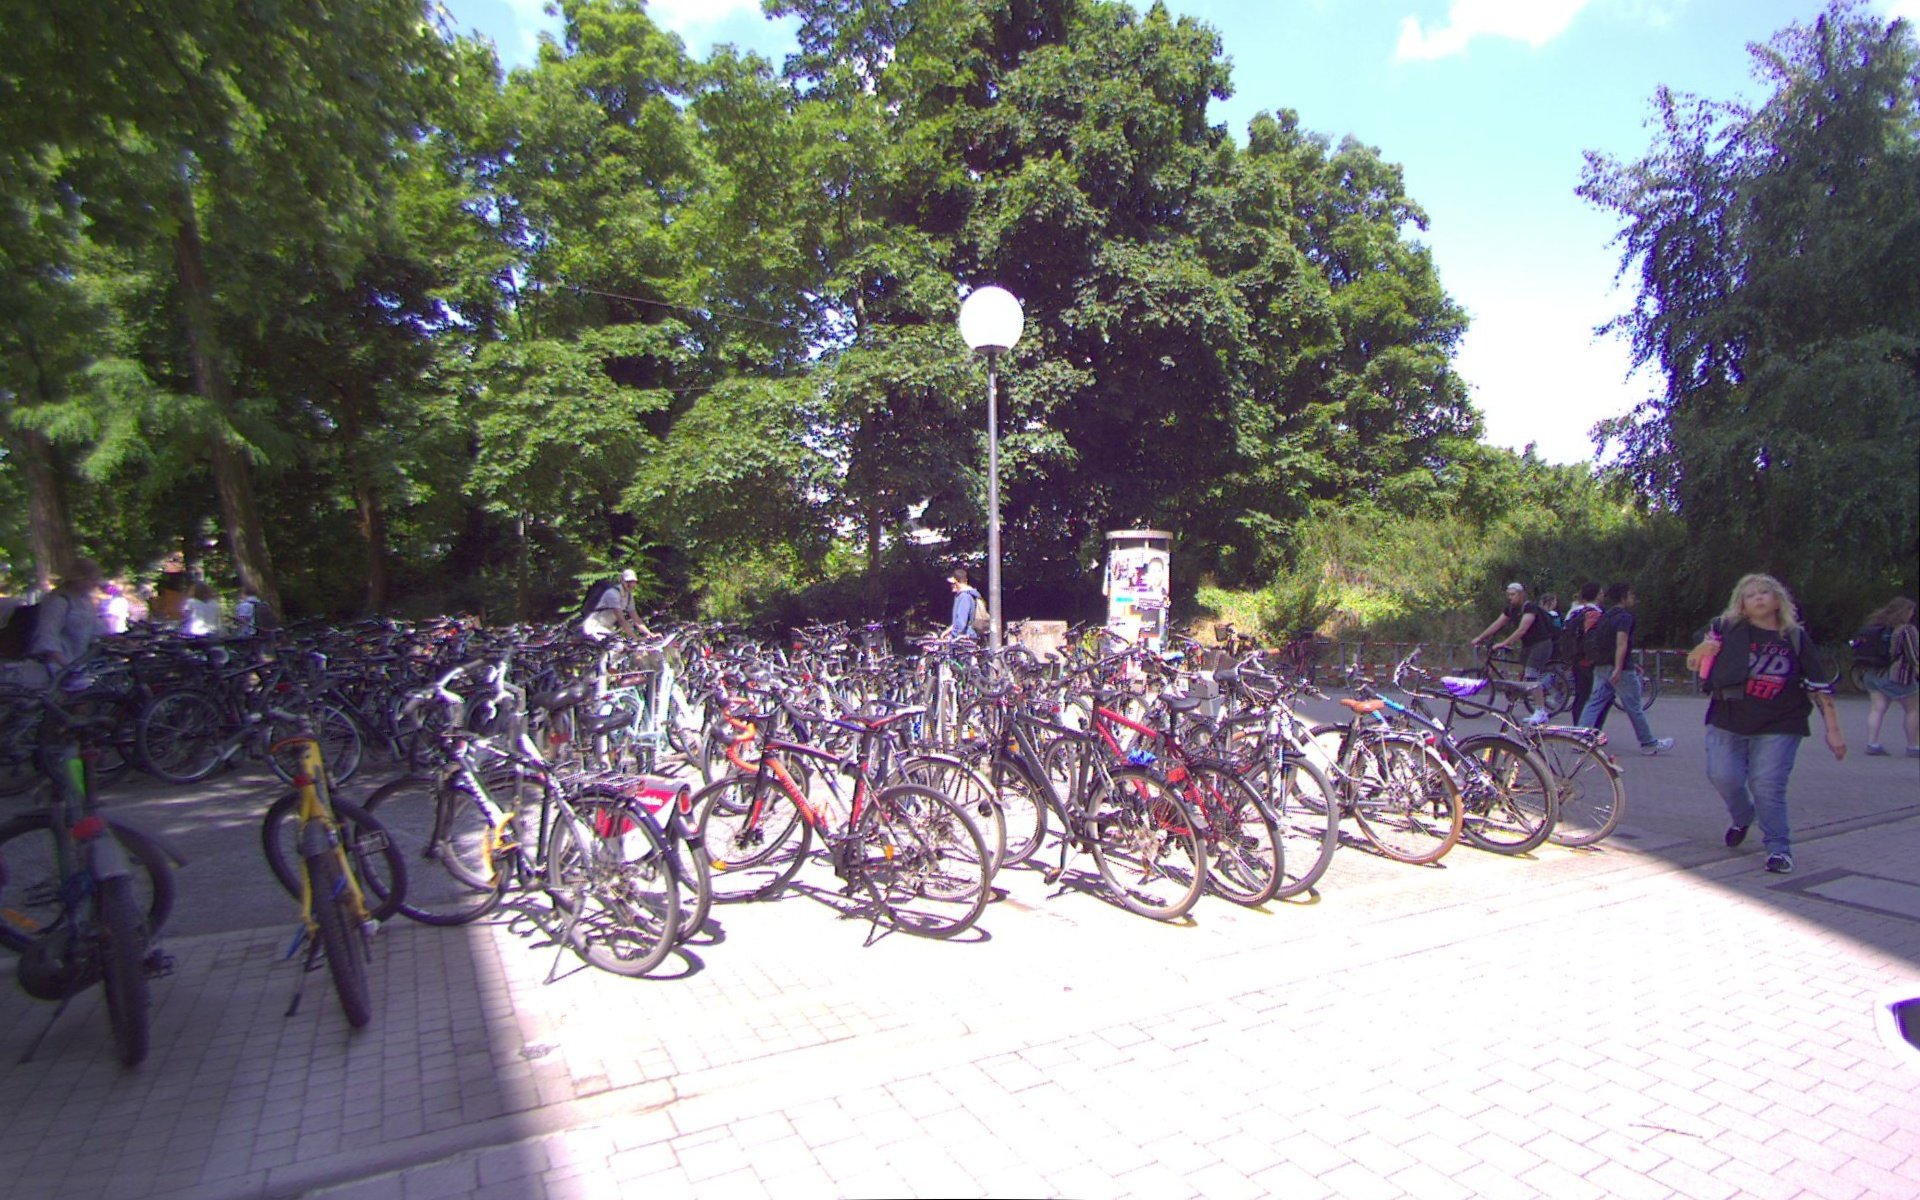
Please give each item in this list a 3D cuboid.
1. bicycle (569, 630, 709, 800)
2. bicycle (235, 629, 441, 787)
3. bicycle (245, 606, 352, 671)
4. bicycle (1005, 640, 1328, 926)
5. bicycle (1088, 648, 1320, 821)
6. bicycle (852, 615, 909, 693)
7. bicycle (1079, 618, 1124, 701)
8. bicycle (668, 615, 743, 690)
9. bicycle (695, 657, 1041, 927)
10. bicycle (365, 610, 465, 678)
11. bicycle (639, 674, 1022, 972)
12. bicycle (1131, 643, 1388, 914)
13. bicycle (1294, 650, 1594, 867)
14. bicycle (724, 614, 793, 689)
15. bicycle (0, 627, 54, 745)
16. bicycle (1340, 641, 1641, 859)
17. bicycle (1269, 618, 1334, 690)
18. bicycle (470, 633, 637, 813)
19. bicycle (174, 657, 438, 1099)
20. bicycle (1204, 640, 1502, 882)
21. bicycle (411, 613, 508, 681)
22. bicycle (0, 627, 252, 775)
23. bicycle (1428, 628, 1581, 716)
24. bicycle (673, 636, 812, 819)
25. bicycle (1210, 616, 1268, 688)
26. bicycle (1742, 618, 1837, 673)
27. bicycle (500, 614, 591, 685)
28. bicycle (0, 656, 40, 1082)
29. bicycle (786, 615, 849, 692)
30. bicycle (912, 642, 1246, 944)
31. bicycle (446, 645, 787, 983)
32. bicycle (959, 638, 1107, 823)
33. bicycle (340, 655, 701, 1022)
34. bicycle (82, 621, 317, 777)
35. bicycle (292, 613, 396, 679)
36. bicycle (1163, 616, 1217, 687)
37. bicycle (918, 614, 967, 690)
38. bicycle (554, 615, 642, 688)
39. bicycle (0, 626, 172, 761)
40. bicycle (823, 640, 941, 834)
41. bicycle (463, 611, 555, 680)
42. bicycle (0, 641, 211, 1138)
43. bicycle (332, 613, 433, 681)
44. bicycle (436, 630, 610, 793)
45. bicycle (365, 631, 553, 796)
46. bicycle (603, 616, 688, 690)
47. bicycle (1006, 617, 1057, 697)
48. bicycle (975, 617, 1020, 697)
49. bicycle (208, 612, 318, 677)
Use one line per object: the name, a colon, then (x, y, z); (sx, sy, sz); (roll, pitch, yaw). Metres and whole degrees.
bicycle: (-2.386, 0.801, 7.652); (0.465, 1.098, 1.700); (1, 0, 2)
bicycle: (-4.977, 0.810, 8.174); (0.464, 1.098, 1.700); (1, 0, 6)
bicycle: (-12.012, 0.669, 18.303); (0.507, 1.125, 1.779); (1, 0, 12)
bicycle: (0.991, 0.833, 5.189); (0.470, 1.184, 1.678); (1, 0, -42)
bicycle: (1.757, 0.906, 7.158); (1.678, 1.098, 0.505); (1, 0, -27)
bicycle: (-1.215, 0.806, 15.640); (0.464, 1.125, 1.779); (1, 0, 9)
bicycle: (2.120, 0.841, 14.912); (0.464, 1.125, 1.779); (1, 0, 14)
bicycle: (-4.111, 0.813, 16.320); (0.507, 1.125, 1.779); (1, 0, 9)
bicycle: (-0.478, 0.862, 4.910); (1.668, 1.076, 0.473); (1, 0, 26)
bicycle: (-9.604, 0.751, 17.784); (0.507, 1.125, 1.779); (1, 0, 12)
bicycle: (-0.599, 0.892, 4.409); (1.668, 1.032, 0.473); (1, 0, 26)
bicycle: (1.568, 0.870, 5.595); (0.466, 1.184, 1.775); (1, 0, -16)
bicycle: (2.975, 0.910, 6.343); (0.469, 1.106, 1.683); (1, 0, -35)
bicycle: (-3.250, 0.807, 16.346); (0.507, 1.125, 1.779); (1, 0, 9)
bicycle: (-9.400, 0.811, 9.122); (0.465, 1.098, 1.699); (1, 0, 22)
bicycle: (3.387, 0.892, 6.557); (0.470, 1.174, 1.681); (1, 0, -38)
bicycle: (5.801, 0.887, 17.153); (0.465, 1.125, 1.778); (1, 0, -1)
bicycle: (-2.882, 0.817, 7.300); (0.465, 1.098, 1.700); (1, 0, 2)
bicycle: (-2.410, 0.817, 3.611); (0.578, 1.123, 1.679); (1, 0, -40)
bicycle: (2.282, 0.870, 6.043); (0.469, 1.184, 1.683); (1, 0, -35)
bicycle: (-8.758, 0.794, 17.658); (0.507, 1.125, 1.779); (1, 0, 12)
bicycle: (-7.034, 0.797, 8.583); (0.464, 1.098, 1.700); (1, 0, 15)
bicycle: (7.292, 0.963, 13.472); (1.809, 1.125, 0.474); (1, 0, -4)
bicycle: (-1.515, 0.840, 7.249); (0.464, 1.098, 1.700); (1, 0, 6)
bicycle: (4.748, 0.859, 17.177); (0.465, 1.125, 1.778); (1, 0, -1)
bicycle: (17.007, 0.929, 20.602); (1.668, 1.061, 0.473); (2, 2, -8)
bicycle: (-7.088, 0.815, 17.266); (0.507, 1.125, 1.779); (1, 0, 12)
bicycle: (-3.466, 0.796, 3.313); (0.561, 1.123, 1.679); (1, 0, -40)
bicycle: (-2.224, 0.807, 15.865); (0.464, 1.125, 1.779); (1, 0, 9)
bicycle: (0.515, 0.836, 4.941); (1.676, 1.184, 0.471); (1, 0, 44)
bicycle: (-1.539, 0.820, 4.371); (1.671, 1.173, 0.473); (1, 0, 34)
bicycle: (0.471, 0.859, 7.205); (0.466, 1.098, 1.693); (1, 0, -17)
bicycle: (-1.787, 0.823, 3.977); (1.671, 1.123, 0.473); (1, 0, 34)
bicycle: (-6.068, 0.733, 8.142); (0.464, 1.098, 1.700); (1, 0, 6)
bicycle: (-11.110, 0.804, 18.183); (0.507, 1.125, 1.779); (1, 0, 12)
bicycle: (3.886, 0.845, 17.072); (0.465, 1.125, 1.778); (1, 0, -1)
bicycle: (-0.252, 0.791, 15.944); (0.464, 1.125, 1.779); (1, 0, 9)
bicycle: (-5.984, 0.821, 16.706); (0.507, 1.125, 1.779); (1, 0, 12)
bicycle: (-8.154, 0.803, 9.062); (0.464, 1.098, 1.700); (1, 0, 15)
bicycle: (-0.583, 0.860, 6.919); (0.466, 1.098, 1.694); (1, 0, -16)
bicycle: (-7.864, 0.766, 17.602); (0.507, 1.125, 1.779); (1, 0, 12)
bicycle: (-2.856, 0.774, 3.339); (0.470, 1.203, 1.679); (1, 0, -40)
bicycle: (-10.313, 0.810, 18.012); (0.507, 1.125, 1.779); (1, 0, 12)
bicycle: (-3.381, 0.809, 7.928); (0.464, 1.098, 1.700); (1, 0, 6)
bicycle: (-3.856, 0.817, 7.884); (0.464, 1.098, 1.700); (1, 0, 6)
bicycle: (-5.126, 0.830, 16.495); (0.507, 1.125, 1.779); (1, 0, 12)
bicycle: (1.109, 0.832, 15.313); (0.464, 1.125, 1.779); (1, 0, 14)
bicycle: (0.595, 0.843, 15.502); (0.464, 1.125, 1.779); (1, 0, 9)
bicycle: (-12.755, 0.787, 18.448); (0.507, 1.125, 1.779); (1, 0, 12)
